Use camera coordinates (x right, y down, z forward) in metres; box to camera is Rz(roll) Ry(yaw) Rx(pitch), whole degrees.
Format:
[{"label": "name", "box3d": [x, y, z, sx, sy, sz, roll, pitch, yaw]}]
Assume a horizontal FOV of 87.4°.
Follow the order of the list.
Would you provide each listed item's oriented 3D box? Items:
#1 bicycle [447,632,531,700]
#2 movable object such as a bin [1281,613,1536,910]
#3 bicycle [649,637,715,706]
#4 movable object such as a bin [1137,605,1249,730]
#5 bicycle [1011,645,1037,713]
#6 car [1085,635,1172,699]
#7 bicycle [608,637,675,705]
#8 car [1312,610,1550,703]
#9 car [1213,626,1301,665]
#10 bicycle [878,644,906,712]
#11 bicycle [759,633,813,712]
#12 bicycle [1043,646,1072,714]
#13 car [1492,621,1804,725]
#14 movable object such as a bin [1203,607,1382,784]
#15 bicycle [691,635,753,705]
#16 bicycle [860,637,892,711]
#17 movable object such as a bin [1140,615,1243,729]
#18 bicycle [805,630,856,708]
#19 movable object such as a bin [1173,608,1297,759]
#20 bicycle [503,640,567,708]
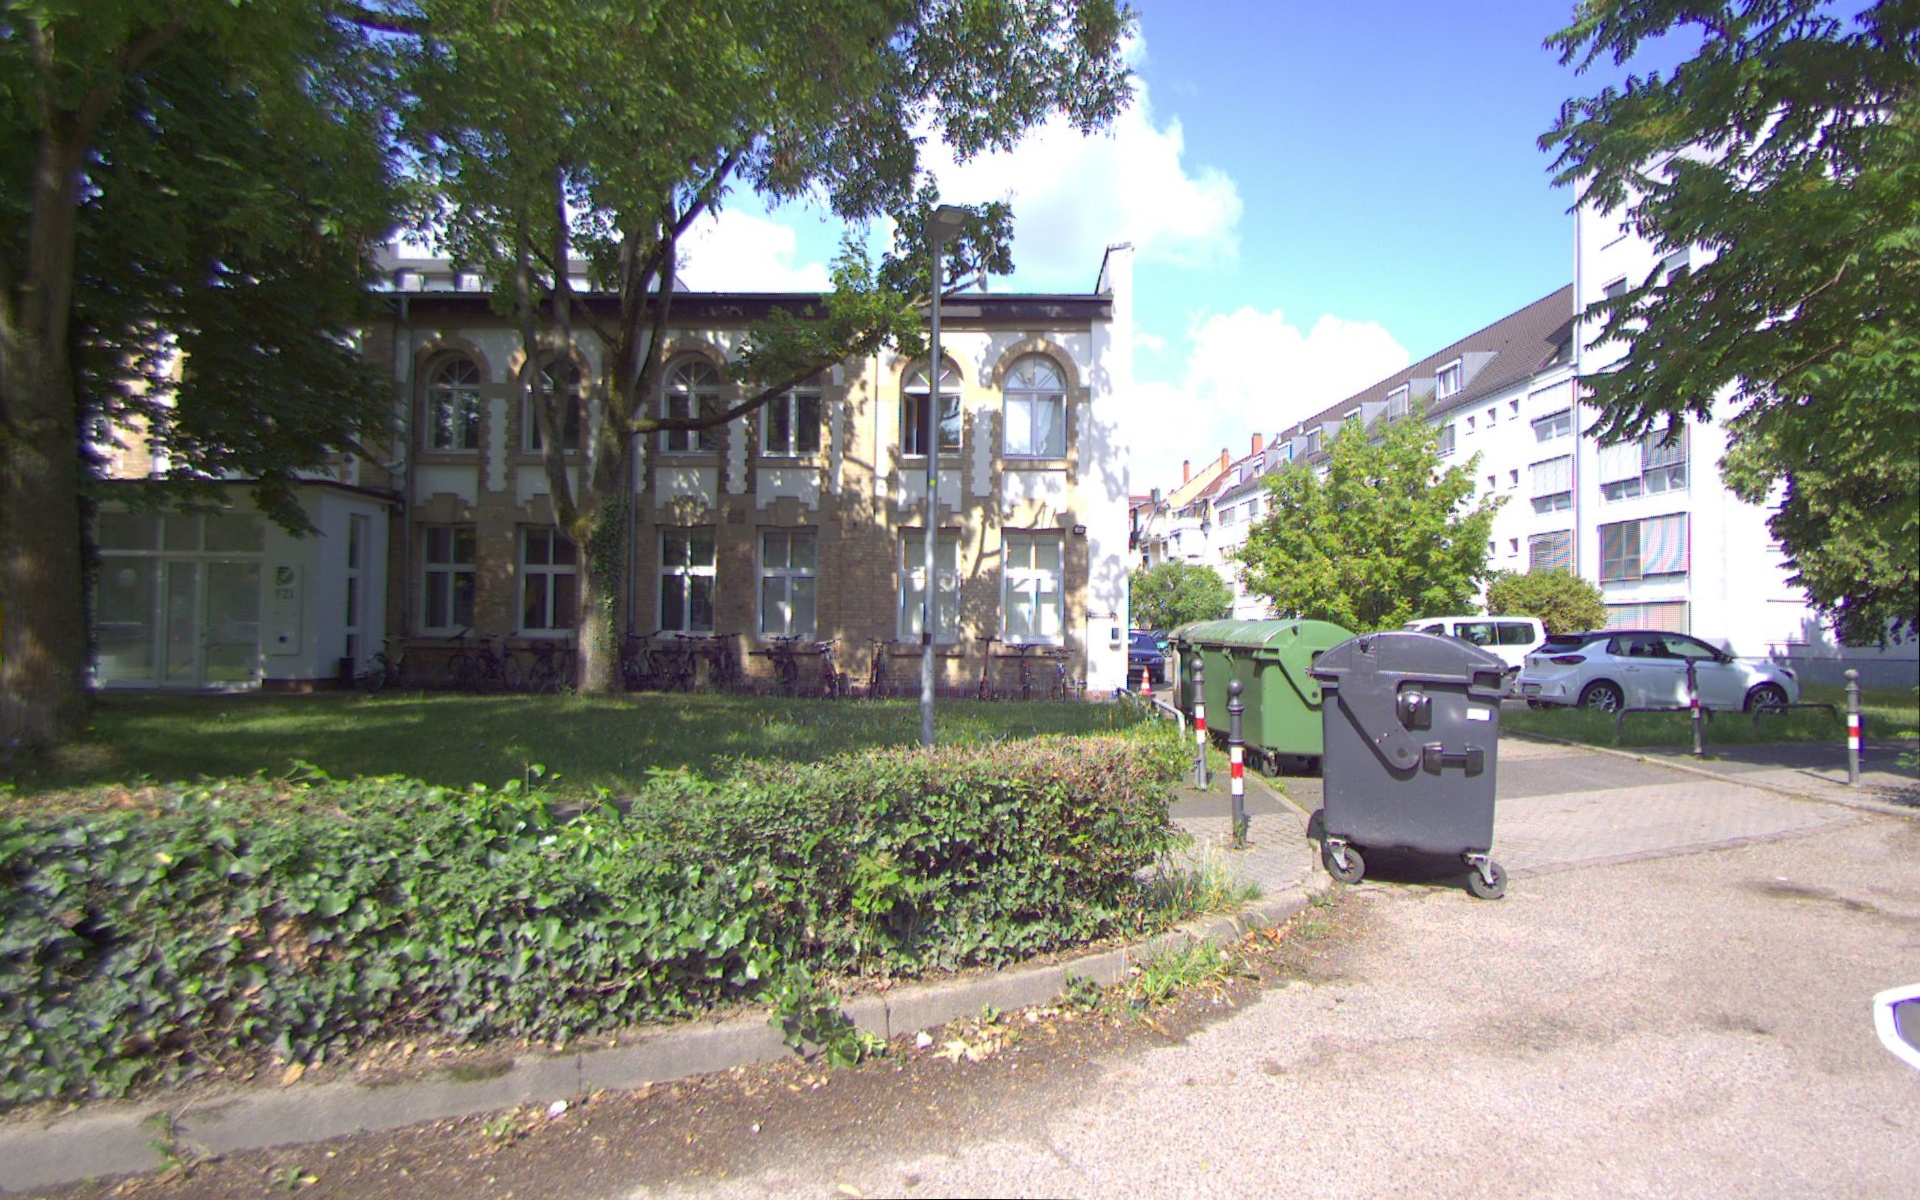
[{"label": "bicycle", "box3d": [-8.791, 1.206, 18.849, 0.411, 1.070, 2.067, 1, 2, 6]}, {"label": "movable object such as a bin", "box3d": [2.619, 0.848, 6.001, 1.225, 1.502, 1.296, 1, -1, 22]}, {"label": "bicycle", "box3d": [-5.213, 1.307, 18.942, 0.411, 1.070, 2.067, 4, 2, 6]}, {"label": "movable object such as a bin", "box3d": [2.864, 0.808, 12.484, 0.929, 1.367, 1.233, 4, 2, -5]}, {"label": "bicycle", "box3d": [1.177, 1.420, 18.559, 0.314, 1.051, 1.859, 4, 1, 1]}, {"label": "car", "box3d": [4.816, 1.879, 29.246, 1.848, 1.461, 4.341, 4, 0, 2]}, {"label": "bicycle", "box3d": [-5.955, 1.293, 18.878, 0.411, 1.070, 2.067, 1, 2, 6]}, {"label": "car", "box3d": [11.457, 1.336, 24.723, 4.856, 1.990, 2.001, 2, 0, 3]}, {"label": "car", "box3d": [15.570, 2.360, 52.734, 3.923, 1.769, 1.948, 2, 3, -3]}, {"label": "bicycle", "box3d": [-1.253, 1.422, 18.712, 0.314, 1.051, 1.859, 4, 1, 1]}, {"label": "bicycle", "box3d": [-3.231, 1.320, 18.814, 0.411, 1.138, 2.067, 4, 6, 6]}, {"label": "bicycle", "box3d": [1.779, 1.445, 18.512, 0.314, 1.051, 1.859, 4, 1, 1]}, {"label": "car", "box3d": [11.126, 1.149, 16.460, 3.839, 1.439, 1.759, 1, 1, 1]}, {"label": "movable object such as a bin", "box3d": [3.151, 0.874, 9.690, 1.082, 1.471, 1.341, 4, 2, -6]}, {"label": "bicycle", "box3d": [-4.408, 1.275, 18.723, 0.411, 1.070, 2.067, 4, 2, 6]}, {"label": "bicycle", "box3d": [-1.559, 1.351, 18.829, 0.351, 1.158, 1.859, 4, 2, 1]}, {"label": "movable object such as a bin", "box3d": [3.160, 0.963, 13.885, 0.928, 1.367, 1.380, 4, 2, -4]}, {"label": "bicycle", "box3d": [-2.391, 1.247, 18.701, 0.411, 1.232, 2.067, 4, 2, 6]}, {"label": "movable object such as a bin", "box3d": [3.002, 0.882, 11.114, 0.863, 1.471, 1.233, 4, 2, -4]}, {"label": "bicycle", "box3d": [-7.793, 1.336, 18.509, 0.314, 1.051, 1.859, 4, 1, 1]}]
